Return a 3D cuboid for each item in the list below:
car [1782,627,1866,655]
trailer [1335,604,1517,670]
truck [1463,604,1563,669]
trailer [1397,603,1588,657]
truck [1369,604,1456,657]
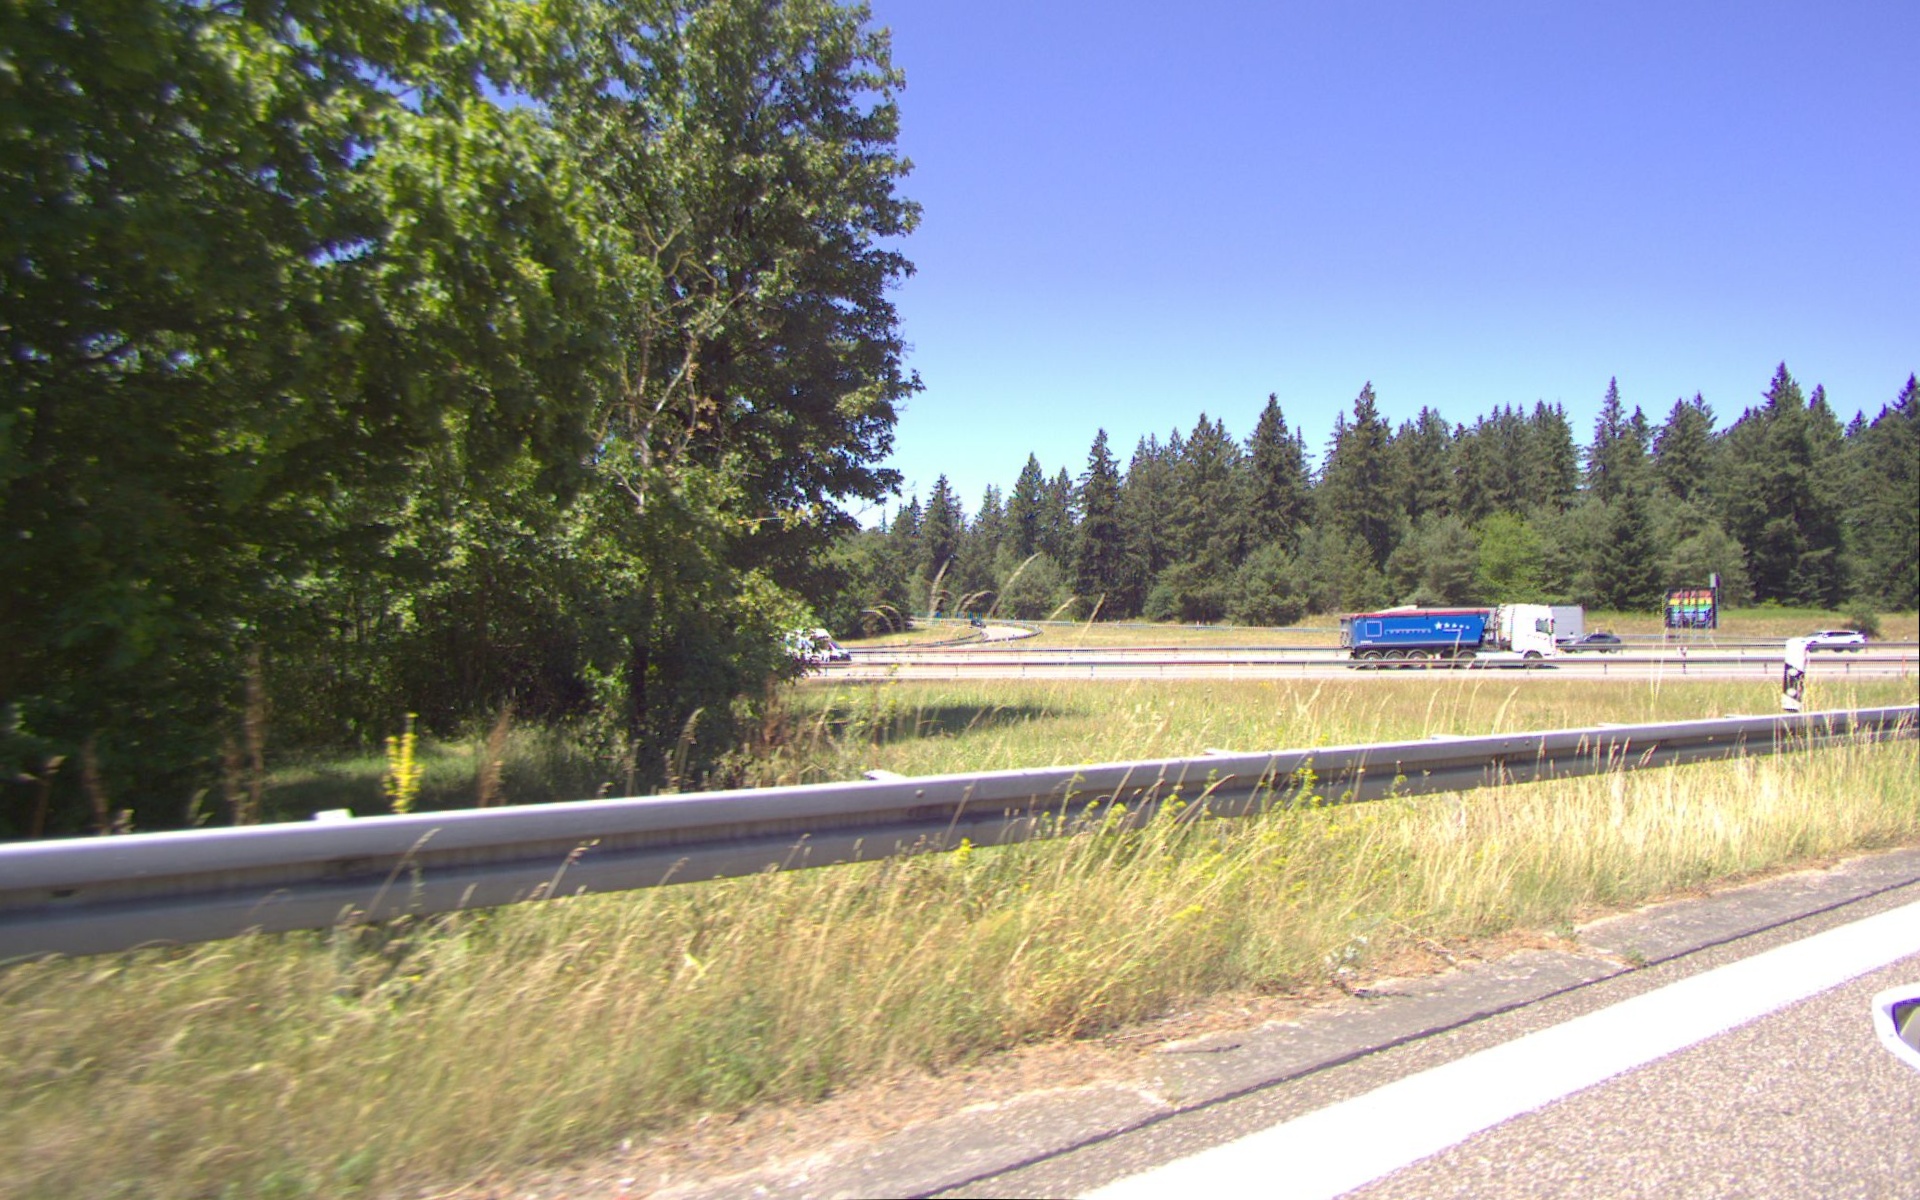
[{"bbox_3d":[64.229,3.024,74.751,4.270,1.873,2.001,-2,-1,8],"label":"car"},{"bbox_3d":[28.176,2.206,61.097,9.684,3.858,2.781,0,0,6],"label":"trailer"},{"bbox_3d":[33.252,2.166,60.537,4.528,3.858,2.767,0,0,6],"label":"truck"},{"bbox_3d":[44.854,2.552,85.046,14.006,4.444,2.937,0,-2,9],"label":"trailer"},{"bbox_3d":[38.636,2.613,85.987,6.143,4.450,2.951,0,-2,9],"label":"truck"}]
